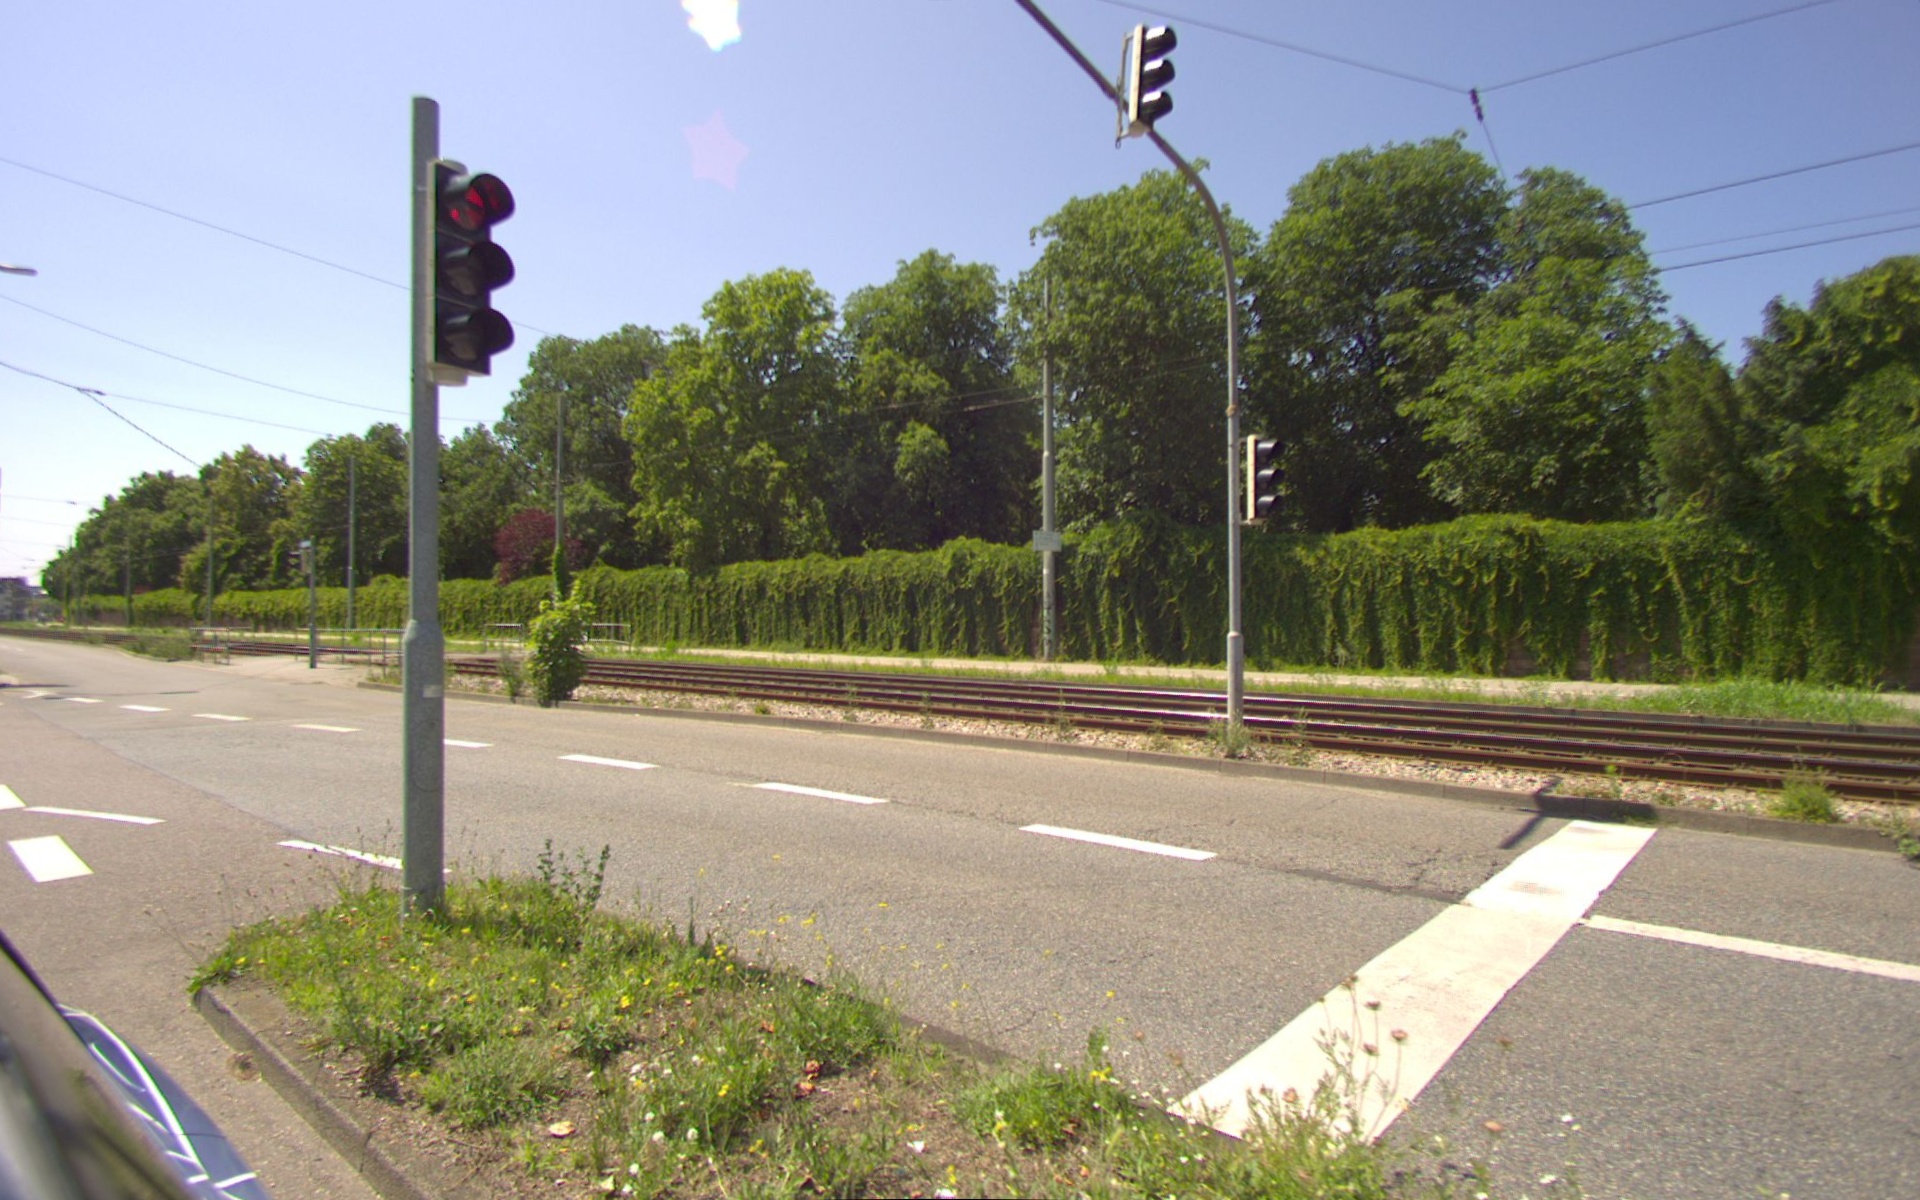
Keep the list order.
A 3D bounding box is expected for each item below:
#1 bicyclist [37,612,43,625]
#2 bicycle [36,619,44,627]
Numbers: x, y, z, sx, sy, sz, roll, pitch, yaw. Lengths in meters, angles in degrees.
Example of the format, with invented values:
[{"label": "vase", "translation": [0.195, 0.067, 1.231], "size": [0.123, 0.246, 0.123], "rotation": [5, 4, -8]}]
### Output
[{"label": "bicyclist", "translation": [-116.761, 2.348, 128.408], "size": [0.769, 1.624, 0.477], "rotation": [-1, 1, 43]}, {"label": "bicycle", "translation": [-116.805, 2.913, 128.461], "size": [1.978, 1.063, 0.609], "rotation": [0, 1, 43]}]
